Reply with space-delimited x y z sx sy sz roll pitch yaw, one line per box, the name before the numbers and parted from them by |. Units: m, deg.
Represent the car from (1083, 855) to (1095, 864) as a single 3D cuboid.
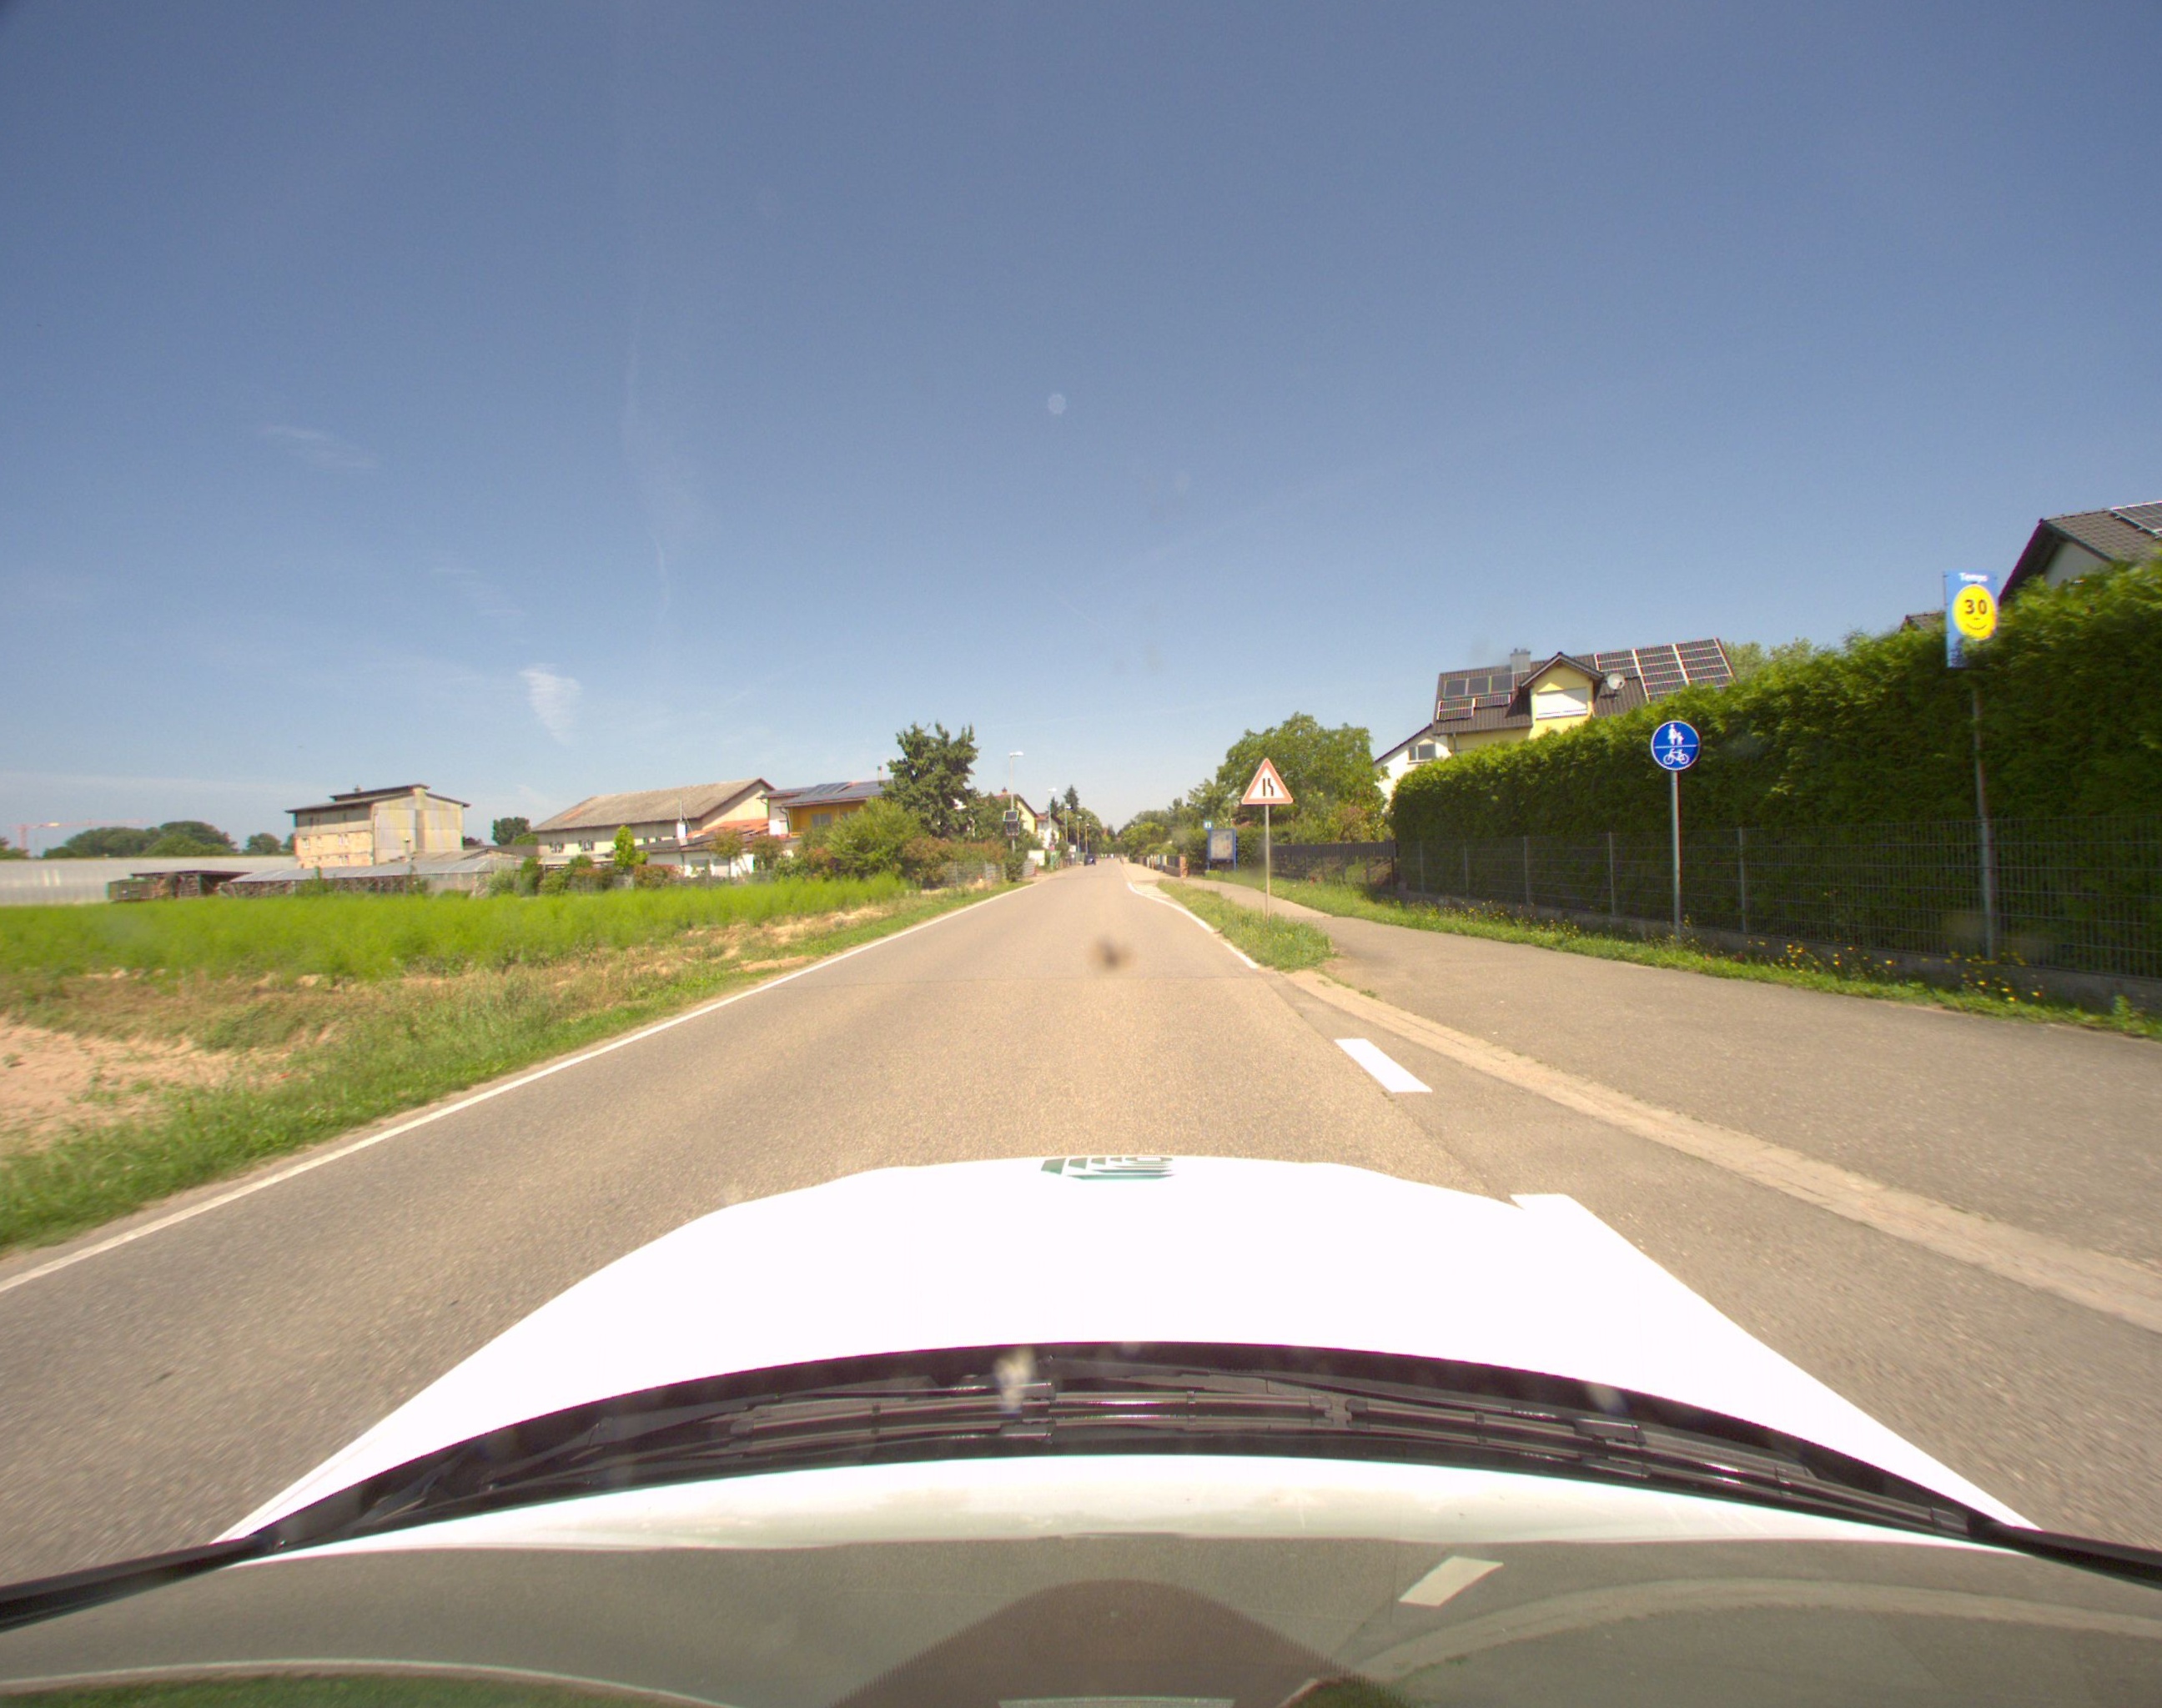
car | 1.204 0.862 127.789 1.752 1.385 3.454 -3 0 2
